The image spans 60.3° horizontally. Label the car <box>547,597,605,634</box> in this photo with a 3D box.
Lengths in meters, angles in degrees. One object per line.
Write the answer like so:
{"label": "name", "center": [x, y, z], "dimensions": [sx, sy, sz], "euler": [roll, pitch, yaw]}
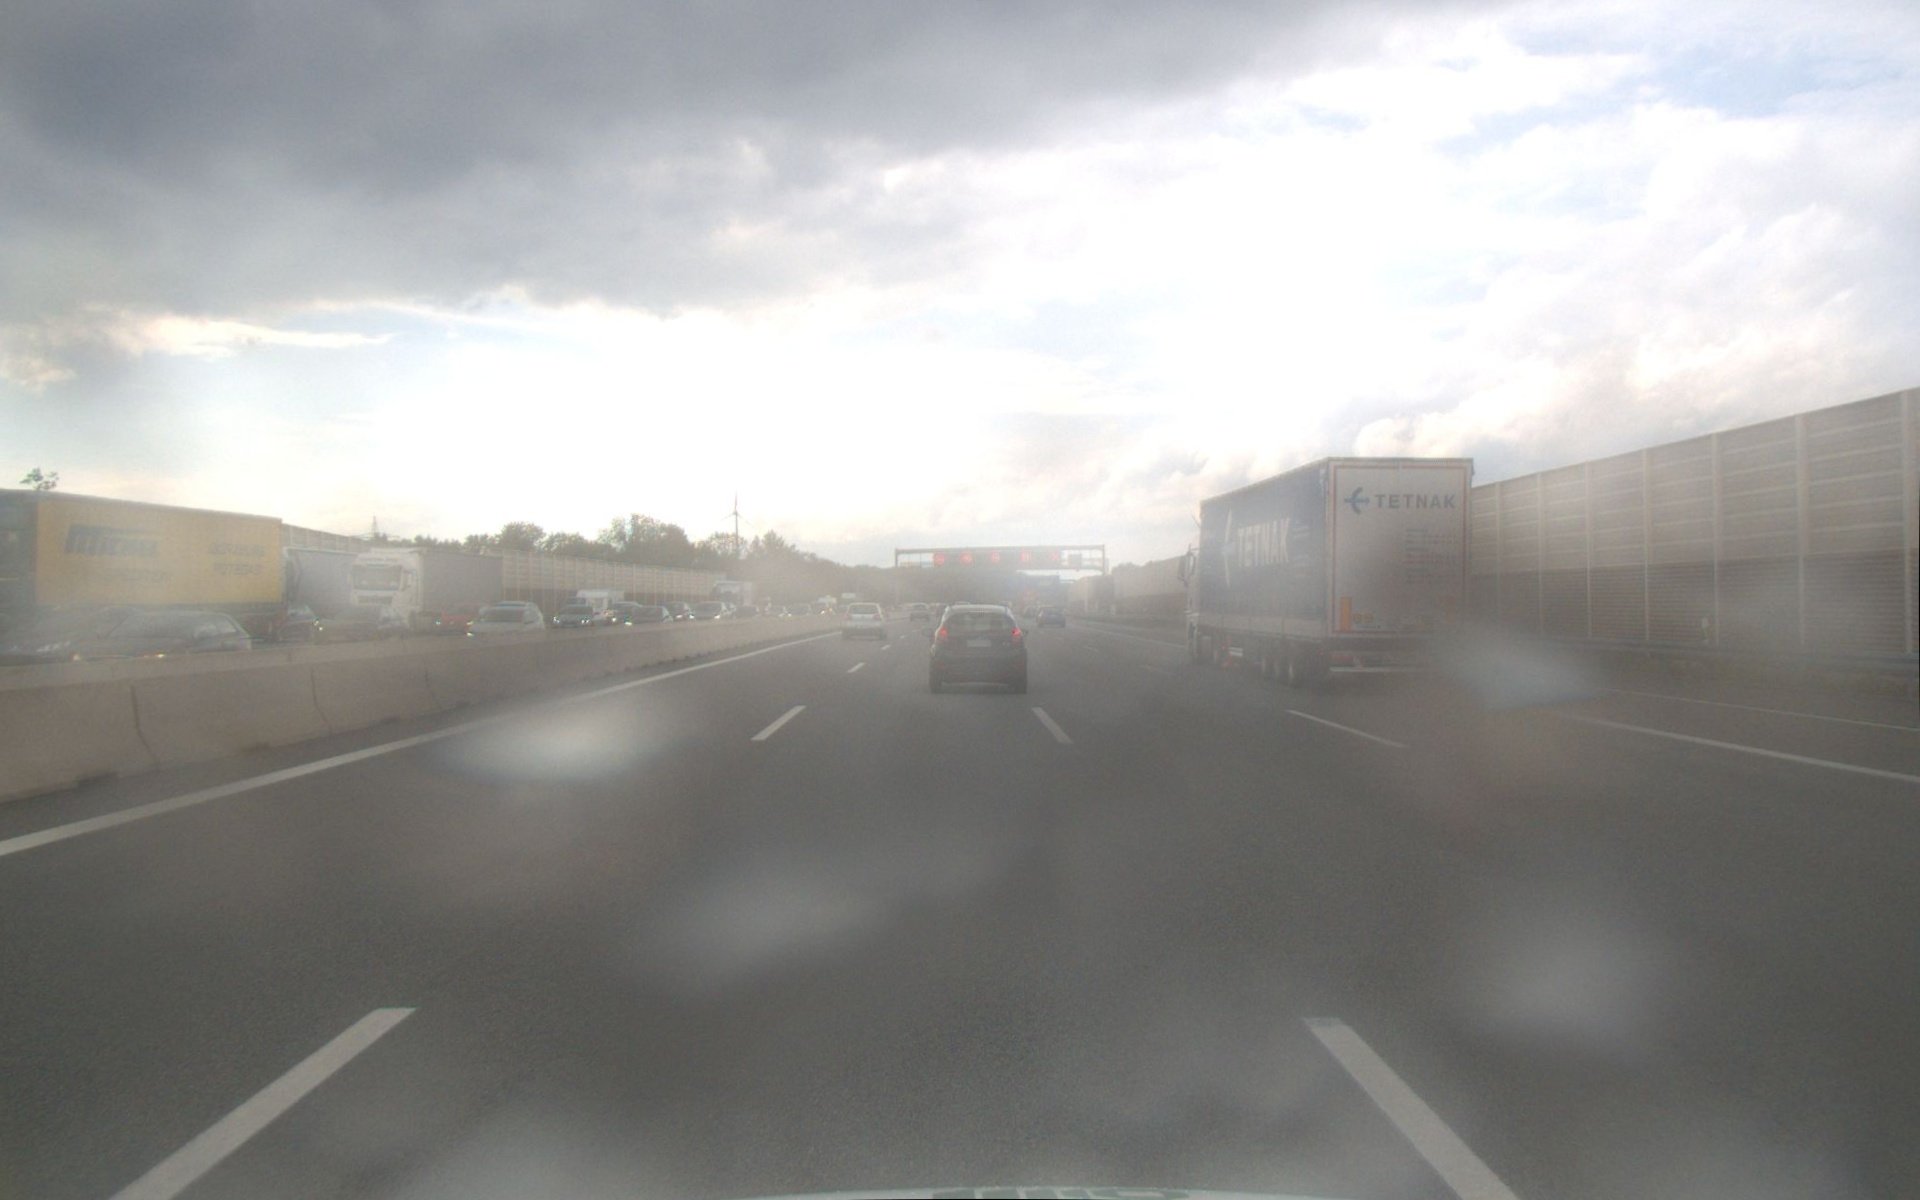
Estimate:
{"label": "car", "center": [-18.635, 0.722, 80.388], "dimensions": [1.916, 1.729, 4.409], "euler": [0, 0, -2]}

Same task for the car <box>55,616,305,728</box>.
{"label": "car", "center": [-14.213, 1.237, 30.606], "dimensions": [2.019, 1.786, 5.806], "euler": [0, 0, -2]}

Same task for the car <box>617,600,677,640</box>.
{"label": "car", "center": [-14.687, 0.909, 77.758], "dimensions": [2.019, 1.848, 4.777], "euler": [0, 0, -2]}

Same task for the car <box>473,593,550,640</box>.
{"label": "car", "center": [-18.544, 0.655, 68.625], "dimensions": [2.019, 1.848, 4.777], "euler": [0, 0, -2]}

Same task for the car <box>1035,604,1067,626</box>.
{"label": "car", "center": [6.339, 1.061, 115.260], "dimensions": [1.910, 1.443, 4.231], "euler": [0, -1, -1]}

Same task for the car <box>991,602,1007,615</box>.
{"label": "car", "center": [5.255, 1.143, 222.692], "dimensions": [1.926, 1.588, 4.434], "euler": [-1, -1, 4]}

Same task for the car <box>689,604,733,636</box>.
{"label": "car", "center": [-14.163, 1.117, 94.290], "dimensions": [1.916, 1.729, 4.891], "euler": [0, 0, -2]}

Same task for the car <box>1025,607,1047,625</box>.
{"label": "car", "center": [6.824, 1.431, 148.577], "dimensions": [1.843, 1.569, 4.433], "euler": [-1, -1, 2]}

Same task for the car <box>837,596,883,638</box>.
{"label": "car", "center": [-4.087, 0.682, 68.355], "dimensions": [1.682, 1.652, 4.278], "euler": [0, 0, -1]}

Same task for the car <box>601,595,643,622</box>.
{"label": "car", "center": [-21.981, 0.537, 107.783], "dimensions": [1.916, 1.729, 4.409], "euler": [0, 0, -2]}

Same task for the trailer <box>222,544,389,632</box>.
{"label": "trailer", "center": [-32.909, -0.535, 84.018], "dimensions": [2.875, 4.102, 13.860], "euler": [0, 0, 0]}

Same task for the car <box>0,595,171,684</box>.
{"label": "car", "center": [-18.341, 0.754, 34.201], "dimensions": [2.019, 1.729, 4.409], "euler": [0, 0, -2]}

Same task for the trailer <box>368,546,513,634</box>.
{"label": "trailer", "center": [-26.176, -0.442, 84.343], "dimensions": [2.704, 4.102, 14.453], "euler": [0, 0, 0]}

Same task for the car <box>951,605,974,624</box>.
{"label": "car", "center": [0.222, 1.315, 149.918], "dimensions": [1.927, 1.588, 4.434], "euler": [-1, -1, 2]}

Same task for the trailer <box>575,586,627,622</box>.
{"label": "trailer", "center": [-25.942, 0.260, 119.758], "dimensions": [2.408, 2.539, 6.085], "euler": [0, 0, 0]}

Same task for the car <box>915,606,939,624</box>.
{"label": "car", "center": [-3.032, 1.371, 154.075], "dimensions": [1.927, 1.588, 4.434], "euler": [-1, -1, 2]}

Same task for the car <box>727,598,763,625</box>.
{"label": "car", "center": [-14.194, 0.737, 109.216], "dimensions": [1.916, 1.729, 4.409], "euler": [0, 0, -2]}

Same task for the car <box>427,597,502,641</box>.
{"label": "car", "center": [-22.076, 0.818, 73.804], "dimensions": [2.019, 1.848, 4.777], "euler": [0, 0, -2]}

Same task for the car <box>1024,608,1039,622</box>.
{"label": "car", "center": [8.563, 1.781, 198.096], "dimensions": [1.843, 1.588, 4.434], "euler": [-1, -1, 2]}

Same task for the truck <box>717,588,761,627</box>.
{"label": "truck", "center": [-21.189, 0.705, 158.872], "dimensions": [2.640, 3.589, 9.997], "euler": [1, 0, 1]}

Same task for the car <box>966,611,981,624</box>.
{"label": "car", "center": [1.743, 2.355, 218.835], "dimensions": [1.927, 1.588, 4.433], "euler": [-1, -1, 1]}

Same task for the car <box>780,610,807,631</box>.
{"label": "car", "center": [-14.038, 1.723, 139.572], "dimensions": [1.835, 1.729, 4.221], "euler": [0, 0, -1]}

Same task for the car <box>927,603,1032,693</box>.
{"label": "car", "center": [0.274, 0.790, 29.214], "dimensions": [1.682, 1.442, 4.277], "euler": [0, 0, -2]}

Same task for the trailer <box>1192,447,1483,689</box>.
{"label": "trailer", "center": [7.426, -0.519, 35.332], "dimensions": [2.705, 4.102, 14.449], "euler": [0, 0, -1]}

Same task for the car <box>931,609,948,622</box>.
{"label": "car", "center": [-2.578, 1.998, 213.283], "dimensions": [1.927, 1.588, 4.434], "euler": [-1, -1, 2]}

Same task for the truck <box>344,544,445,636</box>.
{"label": "truck", "center": [-26.236, -0.439, 76.981], "dimensions": [2.688, 4.105, 5.726], "euler": [0, 0, 0]}

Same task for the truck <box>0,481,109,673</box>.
{"label": "truck", "center": [-21.912, -0.495, 37.133], "dimensions": [2.689, 4.105, 5.724], "euler": [0, 0, -1]}

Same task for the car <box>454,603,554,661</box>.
{"label": "car", "center": [-14.314, 0.970, 52.144], "dimensions": [2.019, 1.729, 4.409], "euler": [0, 0, -2]}

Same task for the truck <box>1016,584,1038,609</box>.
{"label": "truck", "center": [10.091, -0.455, 249.620], "dimensions": [3.087, 3.665, 12.702], "euler": [1, 0, 2]}

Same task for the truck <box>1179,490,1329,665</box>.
{"label": "truck", "center": [7.309, -0.519, 41.832], "dimensions": [2.689, 4.105, 5.724], "euler": [0, 0, -1]}

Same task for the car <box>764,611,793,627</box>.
{"label": "car", "center": [-17.608, 1.882, 160.618], "dimensions": [2.017, 1.517, 4.998], "euler": [0, -1, 2]}

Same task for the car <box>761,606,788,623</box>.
{"label": "car", "center": [-17.932, 1.375, 160.430], "dimensions": [2.018, 1.627, 4.997], "euler": [0, -1, 0]}

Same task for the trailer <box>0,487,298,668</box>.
{"label": "trailer", "center": [-22.048, -0.489, 44.699], "dimensions": [2.705, 4.102, 14.449], "euler": [0, 0, -1]}

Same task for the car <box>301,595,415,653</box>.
{"label": "car", "center": [-18.635, 0.710, 51.391], "dimensions": [2.019, 1.729, 4.409], "euler": [0, 0, -2]}
